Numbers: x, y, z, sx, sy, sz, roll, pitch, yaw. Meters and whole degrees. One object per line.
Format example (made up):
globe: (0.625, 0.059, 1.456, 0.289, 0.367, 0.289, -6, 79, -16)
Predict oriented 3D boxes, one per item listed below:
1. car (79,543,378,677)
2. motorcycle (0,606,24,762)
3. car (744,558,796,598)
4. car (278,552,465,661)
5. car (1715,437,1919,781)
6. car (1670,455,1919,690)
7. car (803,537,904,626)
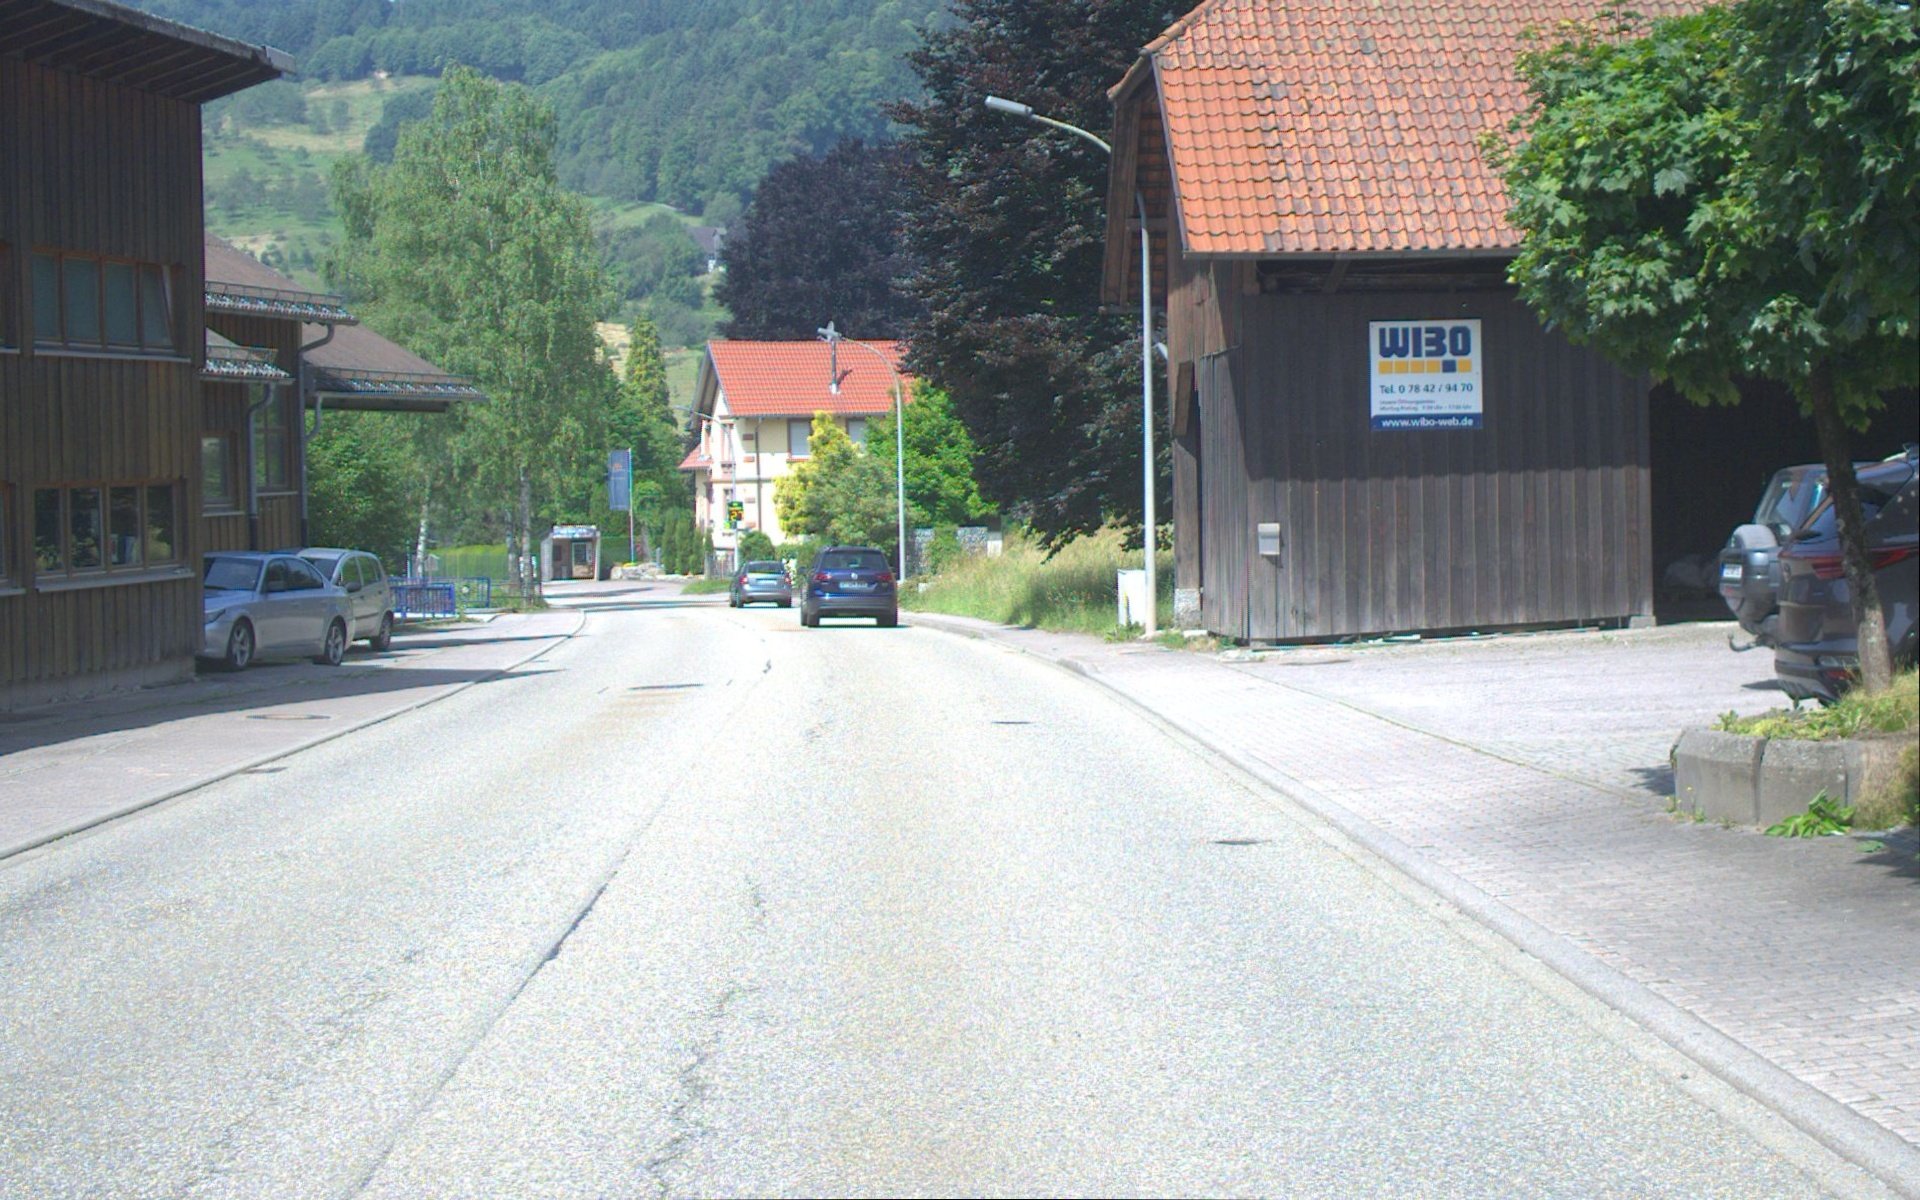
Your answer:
car: (-8.913, 0.082, 42.321, 1.730, 1.449, 4.802, 0, 2, 13)
motorcycle: (-8.989, 0.719, 28.186, 2.409, 1.260, 0.743, -2, 1, 9)
car: (-6.002, -0.697, 108.472, 1.476, 1.205, 2.384, -2, 1, -6)
car: (-9.255, 0.073, 54.363, 1.581, 1.564, 4.021, 2, 2, 10)
car: (6.362, -0.149, 18.242, 4.221, 1.681, 1.776, -6, 1, 3)
car: (8.221, -0.288, 28.518, 4.126, 1.826, 1.955, -2, 1, -4)
car: (-2.190, -0.388, 69.719, 1.919, 1.692, 3.789, -2, 1, -3)
